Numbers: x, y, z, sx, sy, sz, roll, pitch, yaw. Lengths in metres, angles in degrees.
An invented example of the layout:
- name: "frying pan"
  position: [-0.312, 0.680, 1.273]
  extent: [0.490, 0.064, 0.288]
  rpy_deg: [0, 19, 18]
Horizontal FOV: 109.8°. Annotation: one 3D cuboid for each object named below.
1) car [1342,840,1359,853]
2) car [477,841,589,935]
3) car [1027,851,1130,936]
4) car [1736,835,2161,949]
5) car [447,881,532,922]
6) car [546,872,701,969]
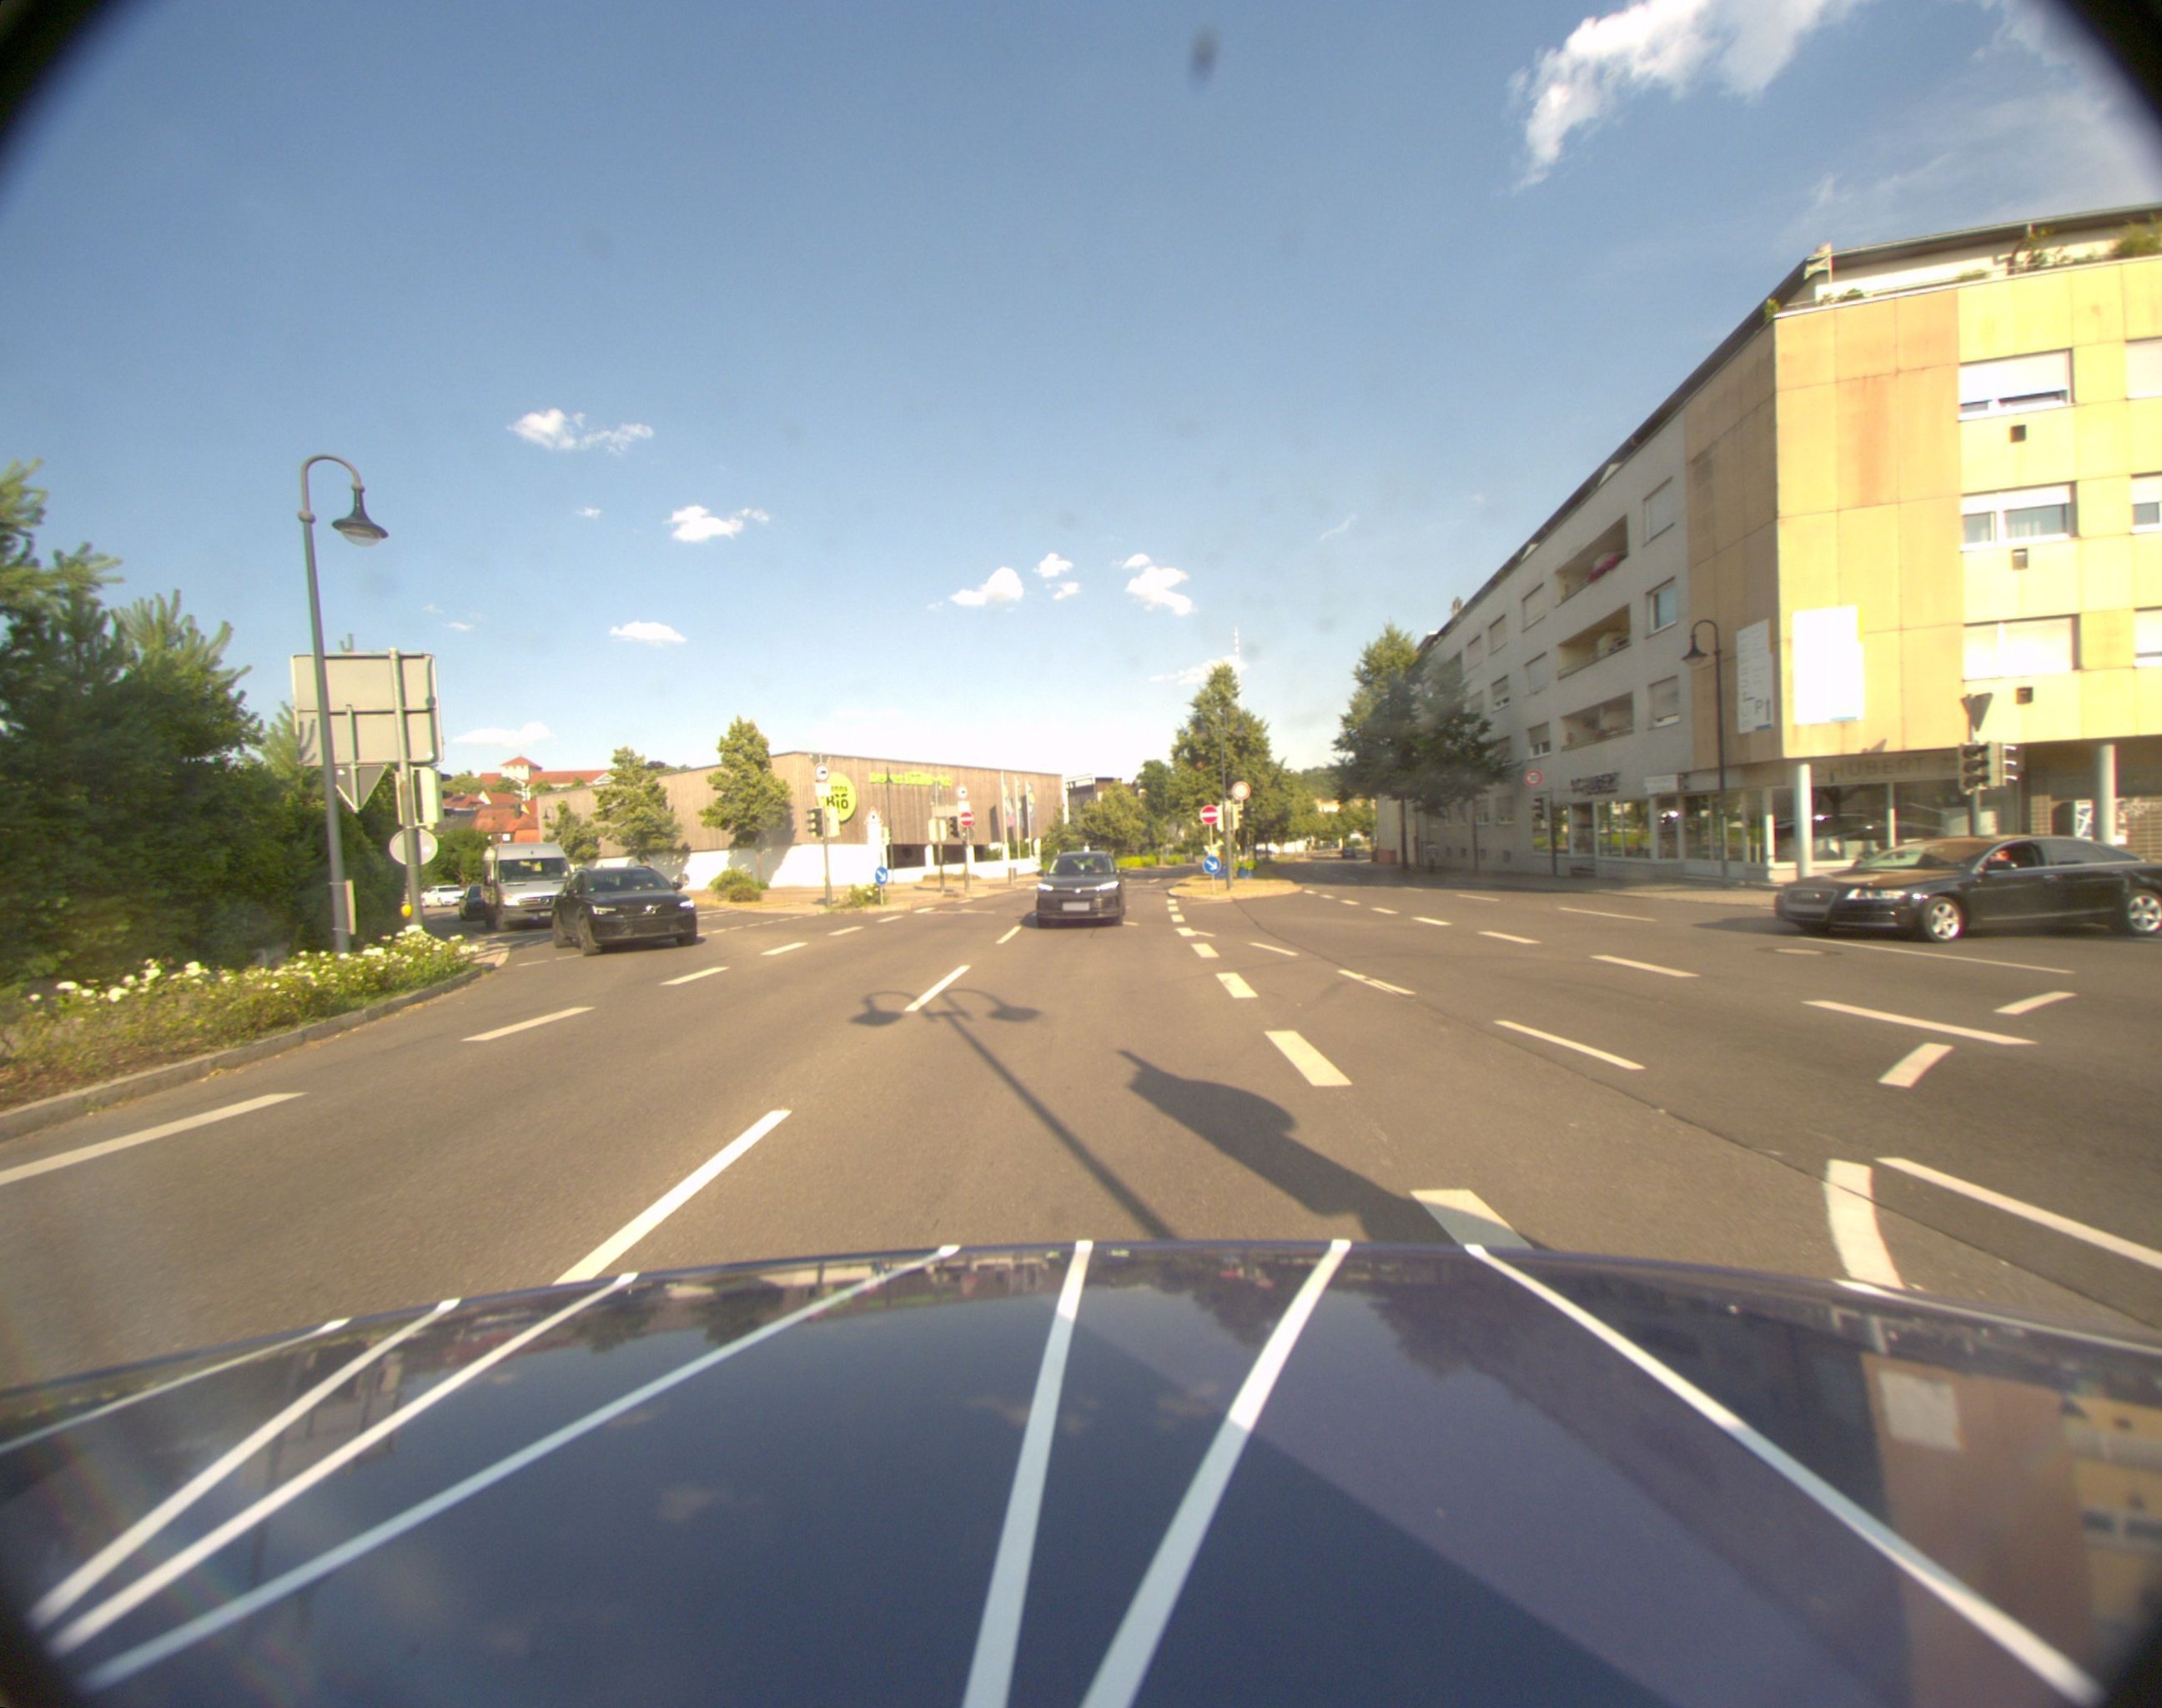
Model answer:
- name: "car"
  position: [38.127, -1.110, 107.331]
  extent: [1.854, 1.726, 4.930]
  rpy_deg: [-1, 1, 24]
- name: "car"
  position: [-17.067, 0.957, 23.508]
  extent: [2.198, 2.507, 5.844]
  rpy_deg: [-2, 1, -41]
- name: "car"
  position: [0.079, 0.786, 17.152]
  extent: [1.724, 1.605, 4.263]
  rpy_deg: [-1, 1, 7]
- name: "car"
  position: [12.791, 0.495, 11.007]
  extent: [4.869, 1.428, 1.917]
  rpy_deg: [-1, 1, 3]
- name: "car"
  position: [-24.193, 1.893, 31.025]
  extent: [3.989, 1.444, 1.862]
  rpy_deg: [-1, 0, 39]
- name: "car"
  position: [-9.146, 1.179, 15.022]
  extent: [1.796, 1.558, 4.259]
  rpy_deg: [-2, 0, -42]
